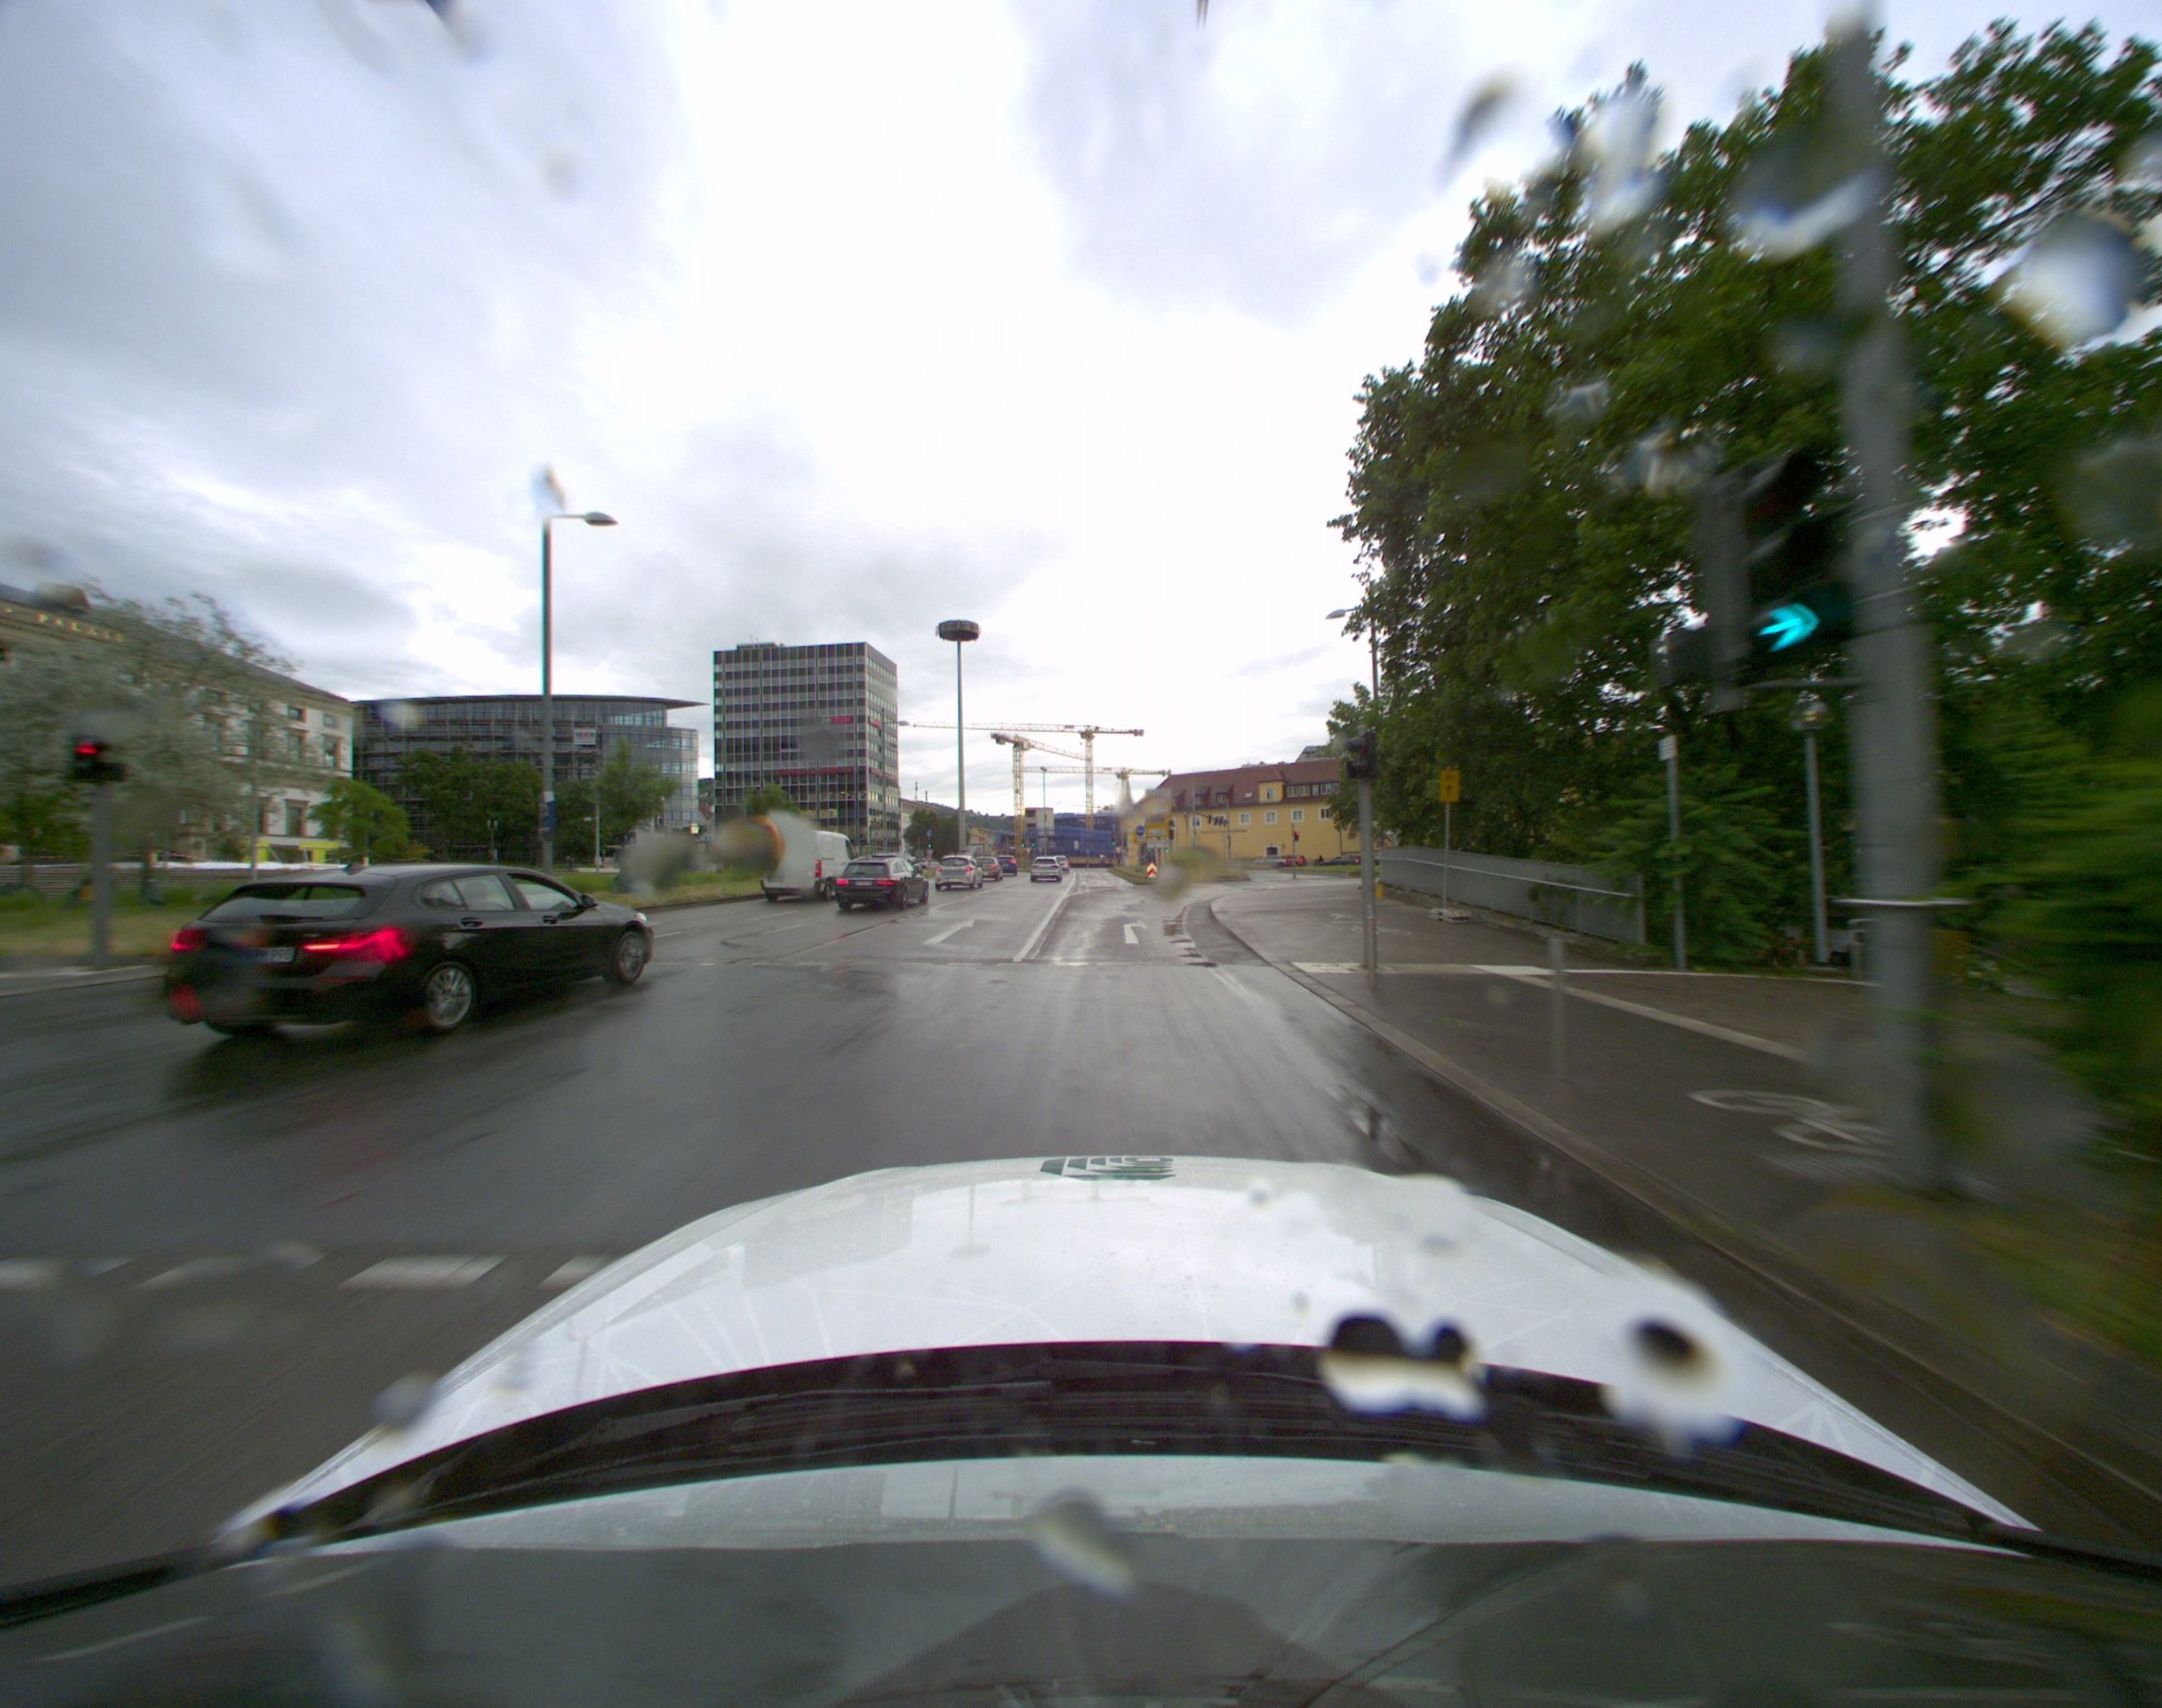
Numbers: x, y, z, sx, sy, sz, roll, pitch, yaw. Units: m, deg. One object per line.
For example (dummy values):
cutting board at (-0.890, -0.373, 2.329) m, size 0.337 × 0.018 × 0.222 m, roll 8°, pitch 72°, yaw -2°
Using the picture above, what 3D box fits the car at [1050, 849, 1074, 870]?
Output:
car at (-1.613, 0.430, 69.649) m, size 1.660 × 1.741 × 3.291 m, roll 0°, pitch 1°, yaw 4°

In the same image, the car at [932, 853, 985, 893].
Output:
car at (-5.372, 0.852, 36.176) m, size 1.875 × 1.653 × 3.456 m, roll 0°, pitch -2°, yaw -1°

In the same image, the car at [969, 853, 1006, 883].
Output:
car at (-5.516, 0.856, 48.409) m, size 1.709 × 1.728 × 3.495 m, roll 0°, pitch -2°, yaw 2°

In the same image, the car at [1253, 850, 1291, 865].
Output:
car at (19.497, 0.366, 83.089) m, size 3.370 × 1.482 × 1.846 m, roll -1°, pitch -2°, yaw 27°

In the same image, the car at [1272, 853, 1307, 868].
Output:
car at (22.497, 0.724, 87.852) m, size 3.368 × 1.472 × 1.662 m, roll -1°, pitch -2°, yaw 26°

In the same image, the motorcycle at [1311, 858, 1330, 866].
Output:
motorcycle at (26.220, 0.846, 89.033) m, size 1.946 × 0.853 × 0.549 m, roll -1°, pitch -2°, yaw 24°

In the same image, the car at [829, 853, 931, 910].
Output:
car at (-5.596, 0.722, 23.092) m, size 1.822 × 1.494 × 3.403 m, roll 0°, pitch 0°, yaw 4°

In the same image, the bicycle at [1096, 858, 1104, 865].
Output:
bicycle at (3.039, 1.254, 132.891) m, size 0.881 × 1.010 × 1.983 m, roll 0°, pitch -2°, yaw -13°

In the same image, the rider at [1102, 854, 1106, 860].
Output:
rider at (4.183, 0.484, 147.462) m, size 0.616 × 1.038 × 0.534 m, roll 0°, pitch -2°, yaw 4°

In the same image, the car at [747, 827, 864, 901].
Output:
car at (-9.295, 0.394, 28.029) m, size 2.285 × 2.314 × 5.004 m, roll 0°, pitch -2°, yaw 0°

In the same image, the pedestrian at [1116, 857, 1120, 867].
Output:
pedestrian at (5.522, 1.184, 121.670) m, size 0.450 × 1.368 × 0.447 m, roll -2°, pitch -3°, yaw 40°

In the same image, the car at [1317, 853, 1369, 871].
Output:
car at (27.034, 0.829, 84.095) m, size 4.757 × 1.709 × 2.012 m, roll -2°, pitch -3°, yaw 45°

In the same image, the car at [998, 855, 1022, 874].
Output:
car at (-5.417, 0.799, 62.345) m, size 1.488 × 1.369 × 3.034 m, roll 0°, pitch -2°, yaw 2°

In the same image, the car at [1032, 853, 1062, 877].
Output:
car at (-1.962, 0.674, 47.588) m, size 1.437 × 1.359 × 2.415 m, roll 0°, pitch -2°, yaw 5°

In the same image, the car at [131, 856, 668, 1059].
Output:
car at (-6.101, 0.769, 8.118) m, size 1.747 × 1.471 × 4.223 m, roll 0°, pitch 0°, yaw 1°

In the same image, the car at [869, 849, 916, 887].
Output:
car at (-8.738, 0.663, 37.982) m, size 1.459 × 1.706 × 3.140 m, roll 0°, pitch -2°, yaw 0°

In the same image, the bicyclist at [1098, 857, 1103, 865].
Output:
bicyclist at (3.205, 1.097, 132.547) m, size 0.704 × 1.275 × 0.632 m, roll 0°, pitch -2°, yaw -14°
